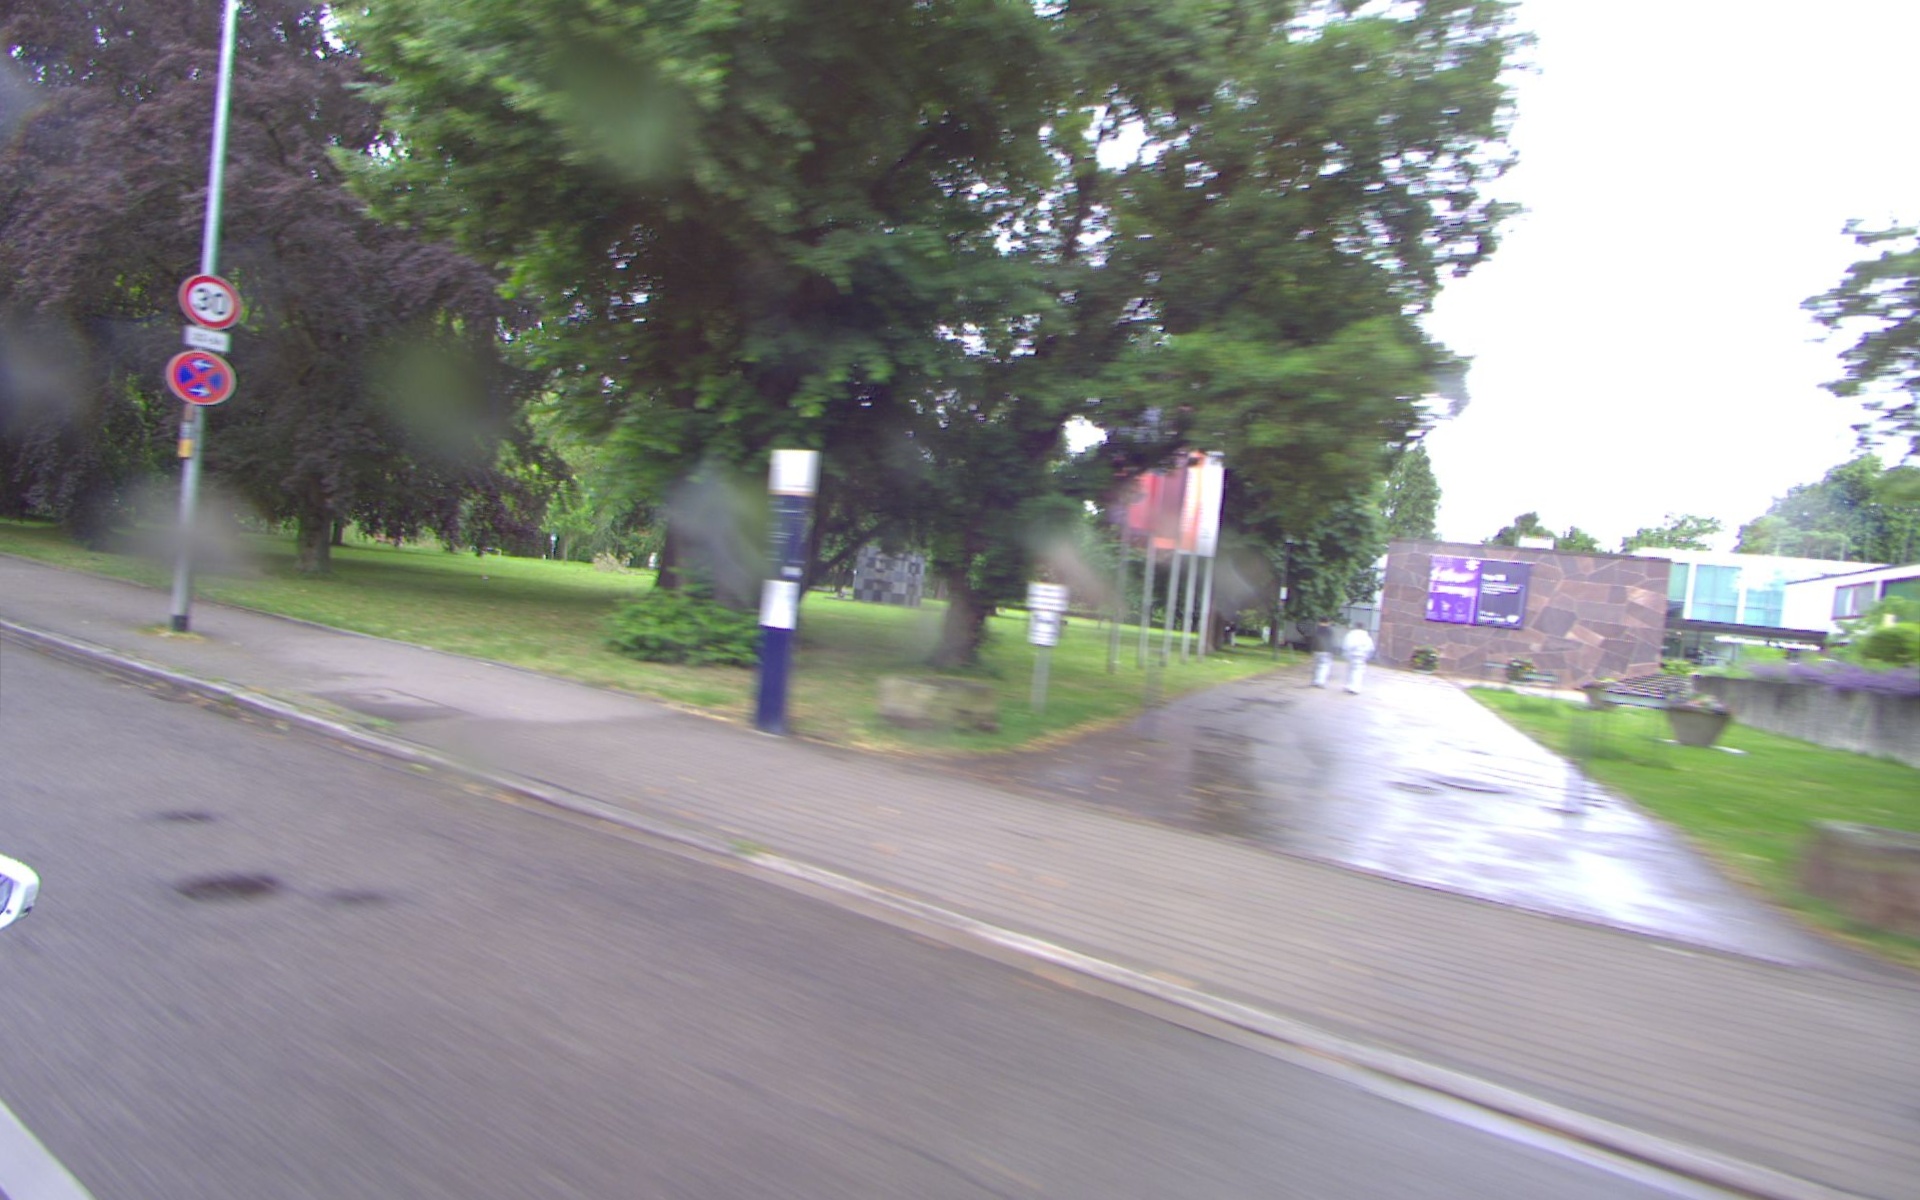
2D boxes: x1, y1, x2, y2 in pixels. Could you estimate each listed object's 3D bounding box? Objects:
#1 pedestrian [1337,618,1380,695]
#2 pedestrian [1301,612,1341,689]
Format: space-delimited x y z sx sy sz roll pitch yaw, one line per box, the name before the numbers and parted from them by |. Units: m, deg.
pedestrian | 9.575 1.363 24.149 0.776 1.732 0.666 6 -1 23
pedestrian | 8.889 1.248 24.769 0.711 1.776 0.666 6 -1 23
